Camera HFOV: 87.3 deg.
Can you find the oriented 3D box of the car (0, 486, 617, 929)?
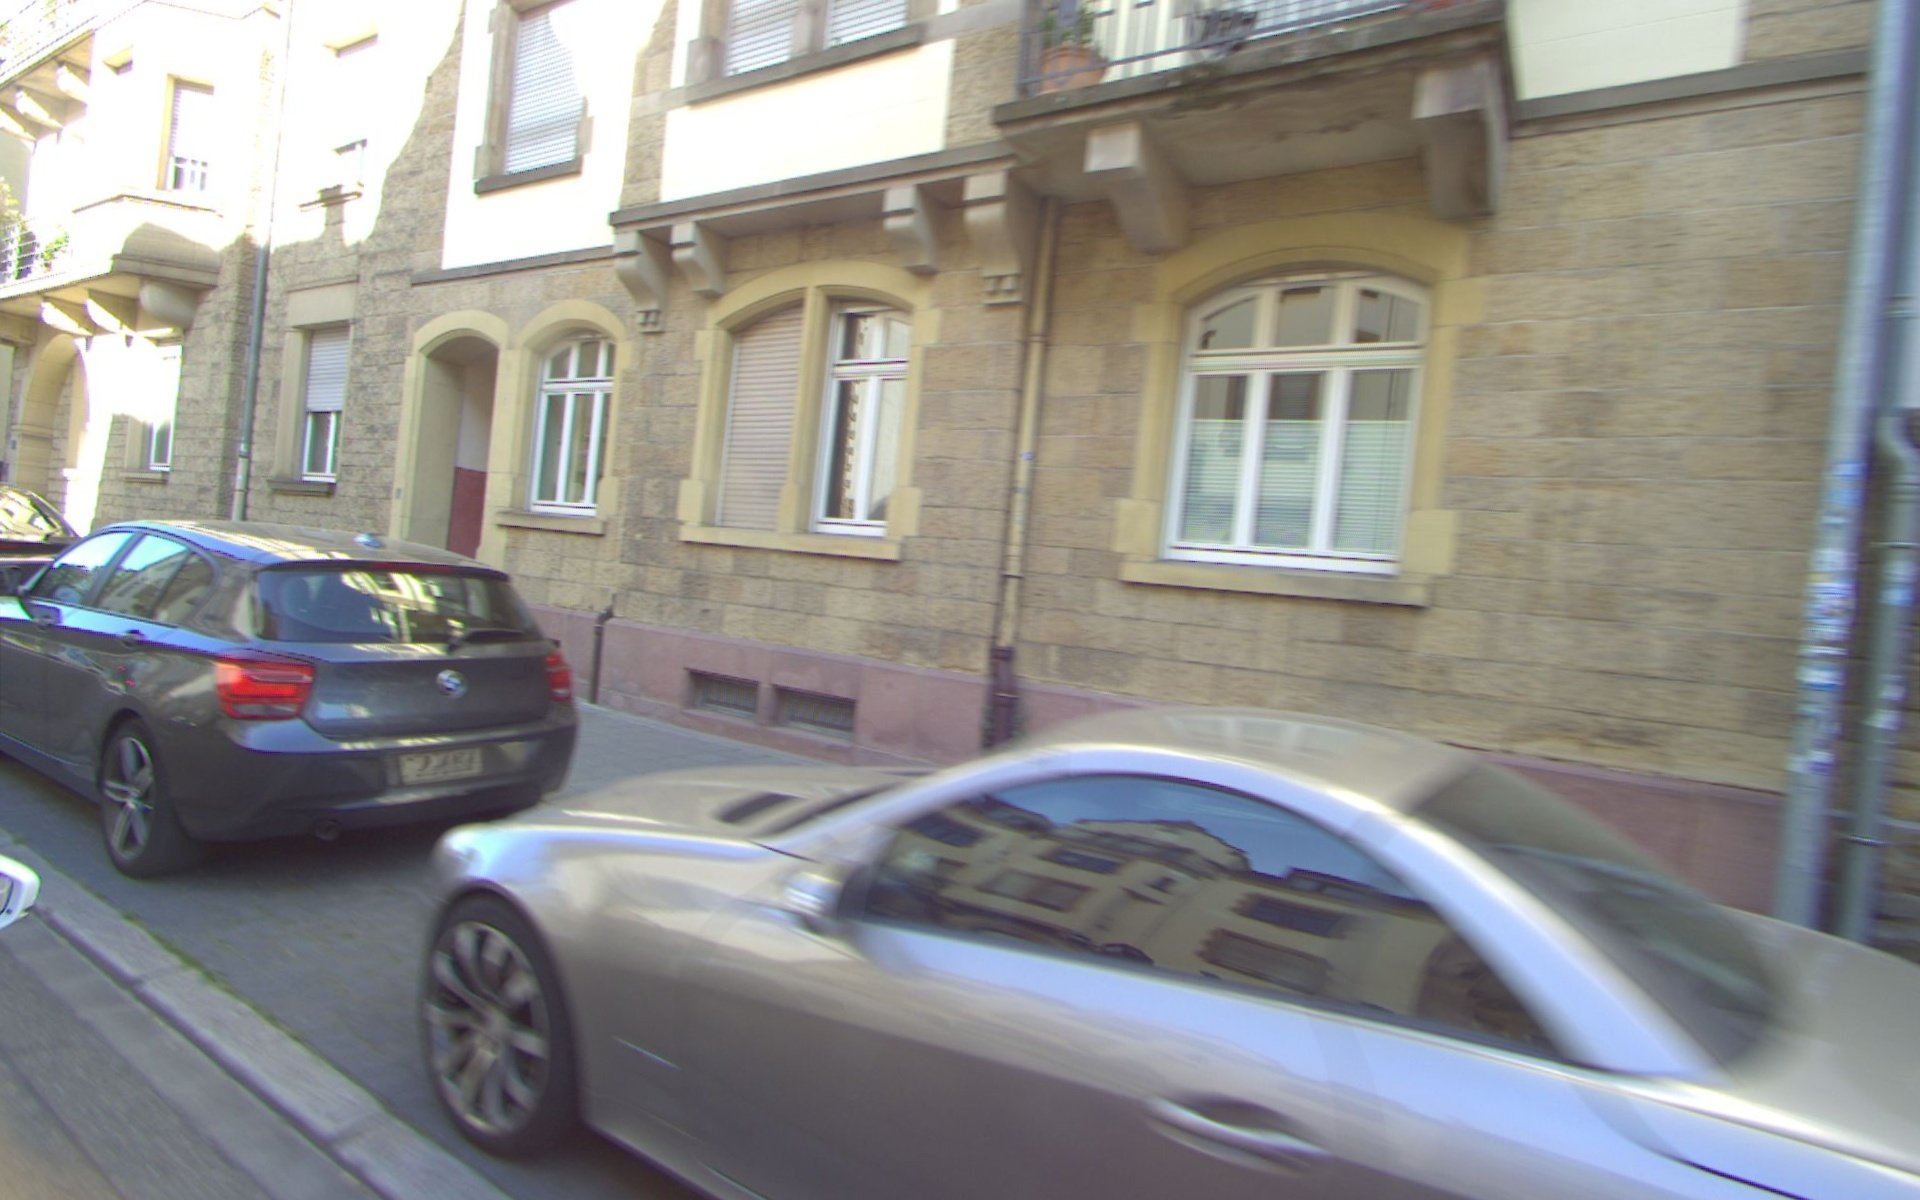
[{"bbox_3d":[-3.938,0.267,5.346,4.188,1.461,1.652,7,1,32],"label":"car"}]

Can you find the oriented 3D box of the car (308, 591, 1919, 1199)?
[{"bbox_3d":[0.228,0.847,2.525,3.878,1.270,1.693,7,1,34],"label":"car"}]

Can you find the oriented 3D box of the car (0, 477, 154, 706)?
[{"bbox_3d":[-8.042,-0.272,7.483,4.268,1.480,1.867,7,1,33],"label":"car"}]
